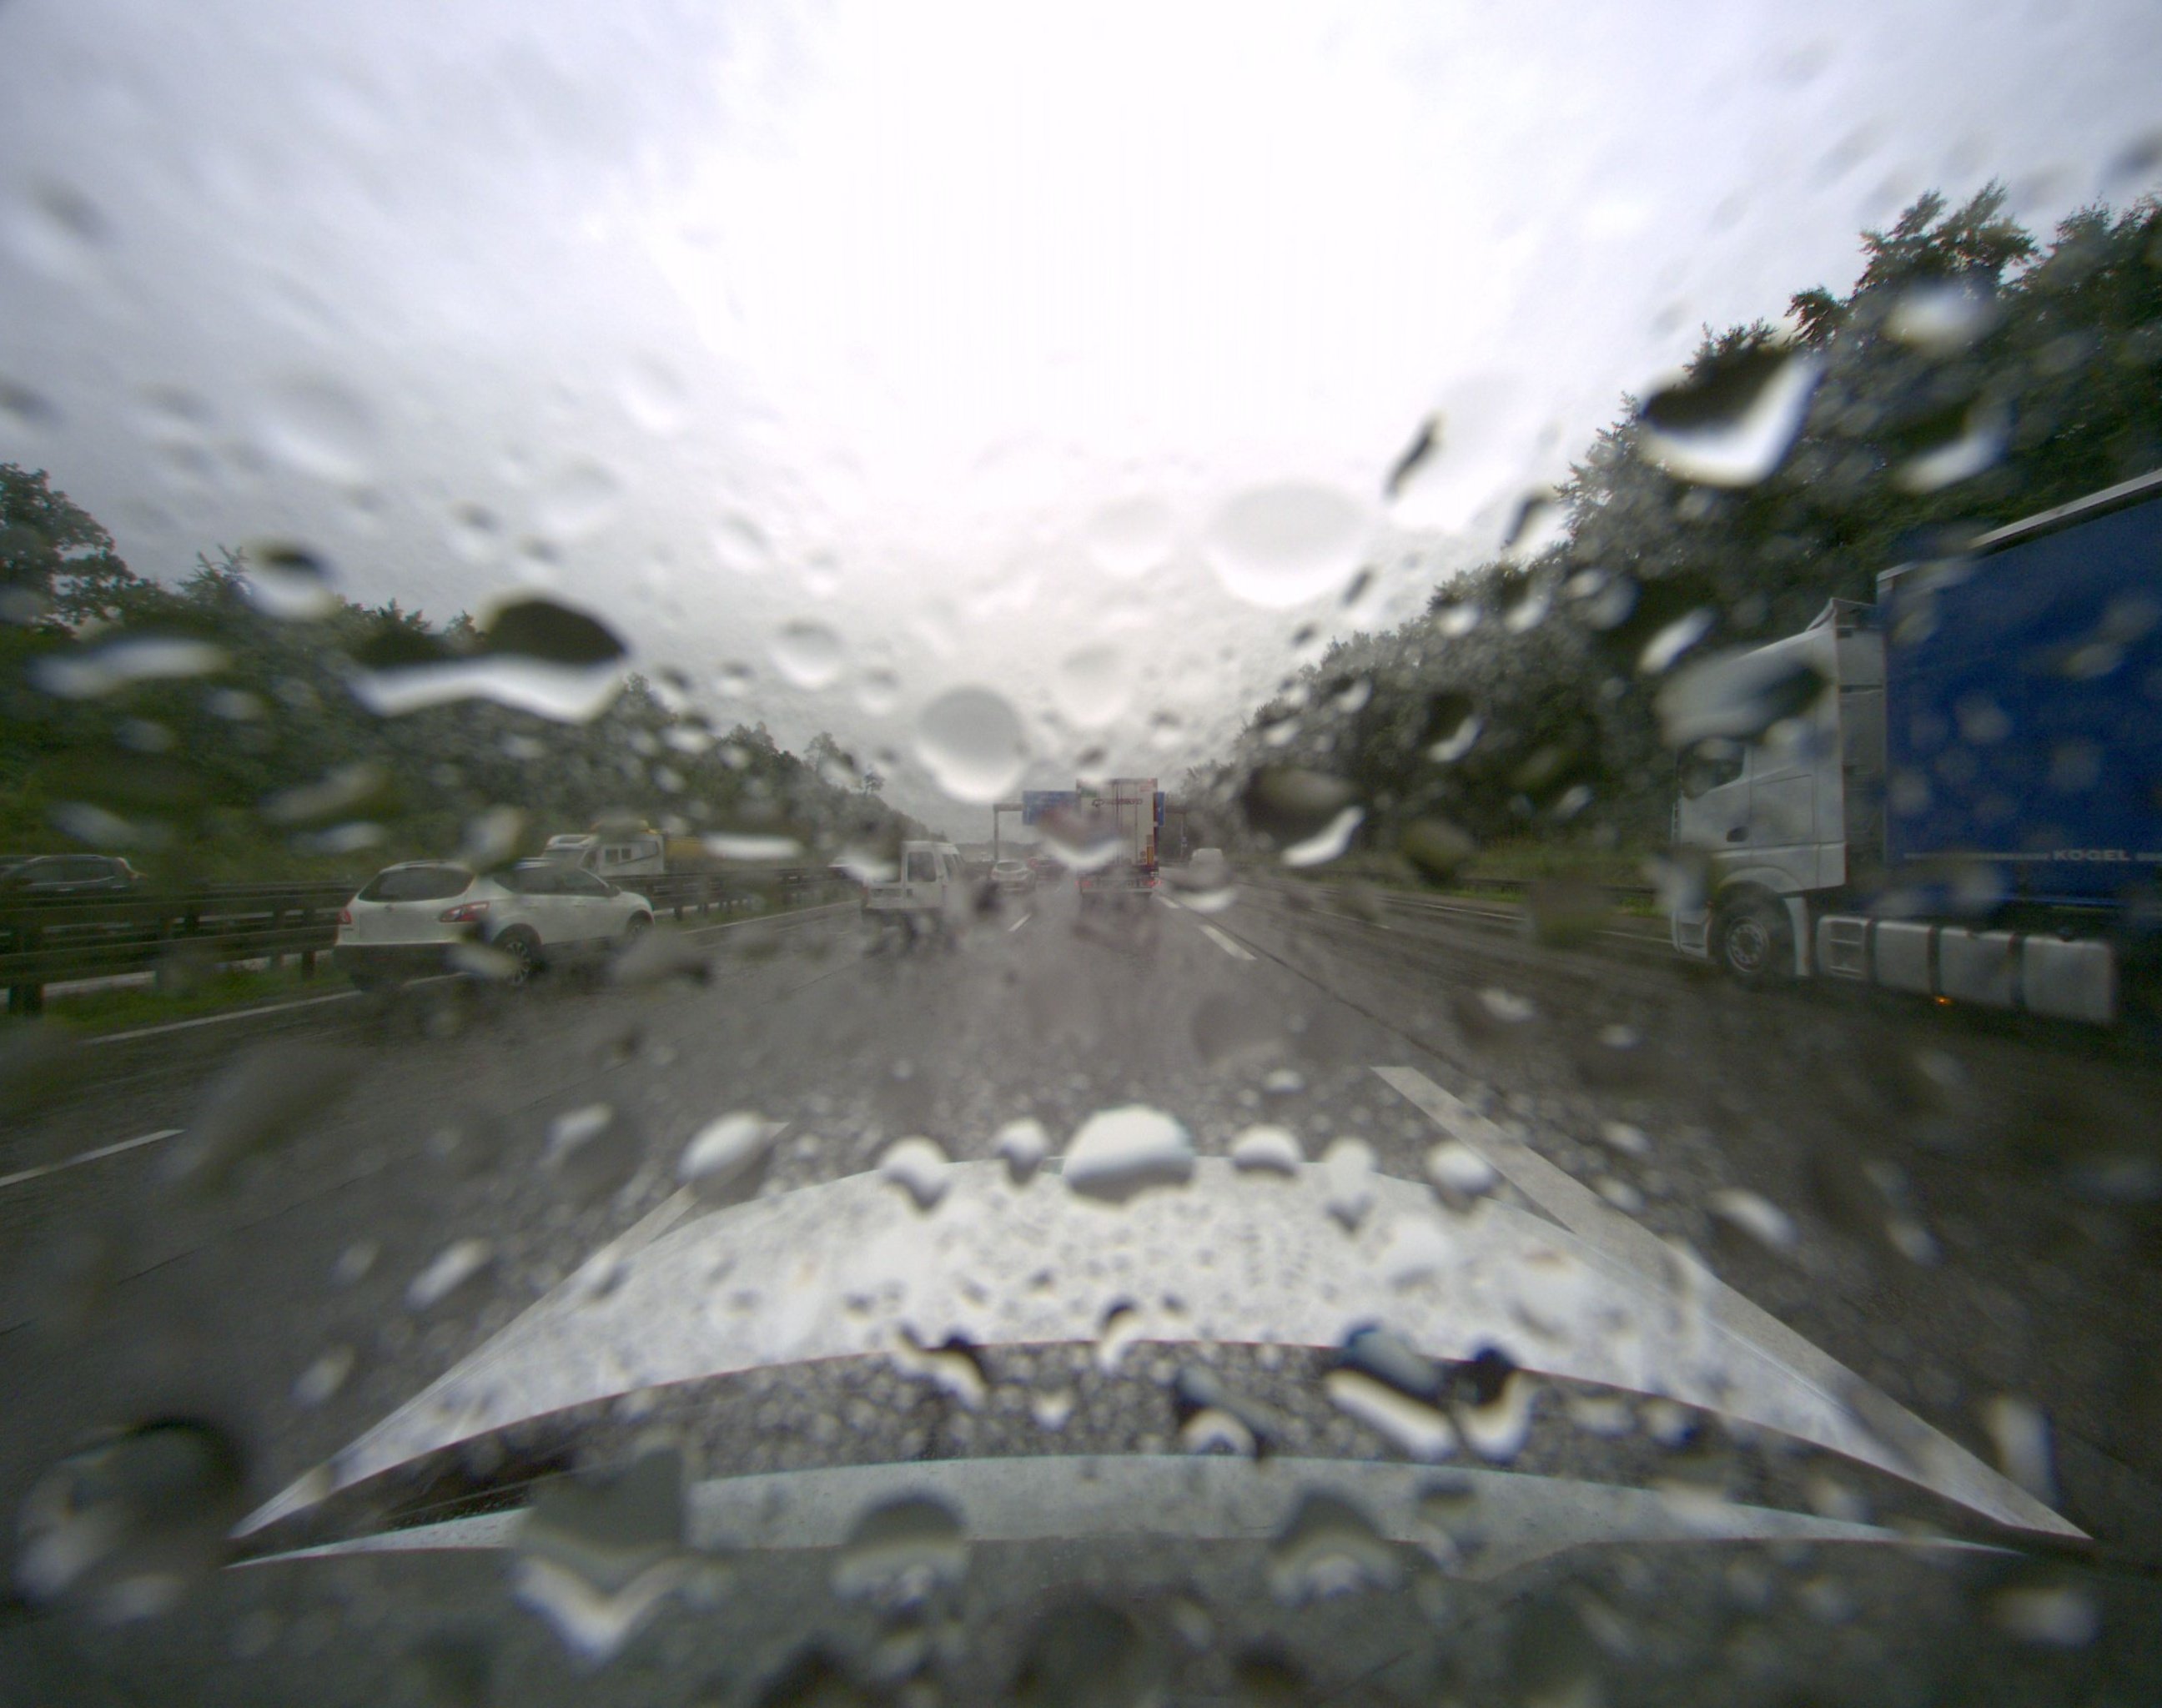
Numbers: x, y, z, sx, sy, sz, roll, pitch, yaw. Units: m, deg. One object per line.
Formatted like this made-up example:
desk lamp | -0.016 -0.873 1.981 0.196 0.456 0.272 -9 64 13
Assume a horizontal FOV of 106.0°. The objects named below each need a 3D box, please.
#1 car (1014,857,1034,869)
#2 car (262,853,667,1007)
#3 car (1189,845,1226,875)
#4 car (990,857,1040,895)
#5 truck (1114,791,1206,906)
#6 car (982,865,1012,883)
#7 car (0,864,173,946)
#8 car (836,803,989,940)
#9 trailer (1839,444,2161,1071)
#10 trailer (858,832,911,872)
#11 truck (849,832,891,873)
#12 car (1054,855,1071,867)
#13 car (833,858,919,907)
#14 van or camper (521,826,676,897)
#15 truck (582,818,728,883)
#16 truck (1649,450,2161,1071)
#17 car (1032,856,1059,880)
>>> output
car | -6.667 0.990 95.854 1.839 1.330 4.468 0 0 1
car | -7.636 0.797 10.809 1.838 1.591 4.469 0 0 2
car | 8.613 0.397 55.747 1.981 1.921 4.771 0 0 3
car | -2.967 0.956 37.337 1.839 1.591 4.073 0 0 1
truck | 2.870 -0.137 31.186 2.859 3.562 11.314 0 0 4
car | -6.680 1.574 65.422 1.839 1.330 4.468 0 0 1
car | -22.060 1.024 16.910 1.839 1.579 4.001 0 0 2
car | -3.478 0.325 17.945 2.205 2.573 5.017 0 0 1
trailer | 8.035 -0.635 0.616 2.544 4.014 13.720 0 0 2
trailer | -21.292 -0.139 89.118 2.532 4.025 13.847 0 0 0
truck | -21.241 -0.129 82.455 2.532 4.025 6.324 0 0 0
car | -2.175 0.845 98.403 1.839 1.330 4.468 0 0 1
car | -7.413 0.986 29.940 1.838 1.591 4.469 0 0 2
van or camper | -21.623 0.308 37.148 2.158 2.870 8.004 0 0 1
truck | -25.378 -0.166 49.517 2.510 3.483 11.721 0 0 1
truck | 8.317 -0.597 7.127 2.592 4.014 6.013 0 0 1
car | -2.502 0.998 58.766 1.840 1.591 4.464 0 0 -2
